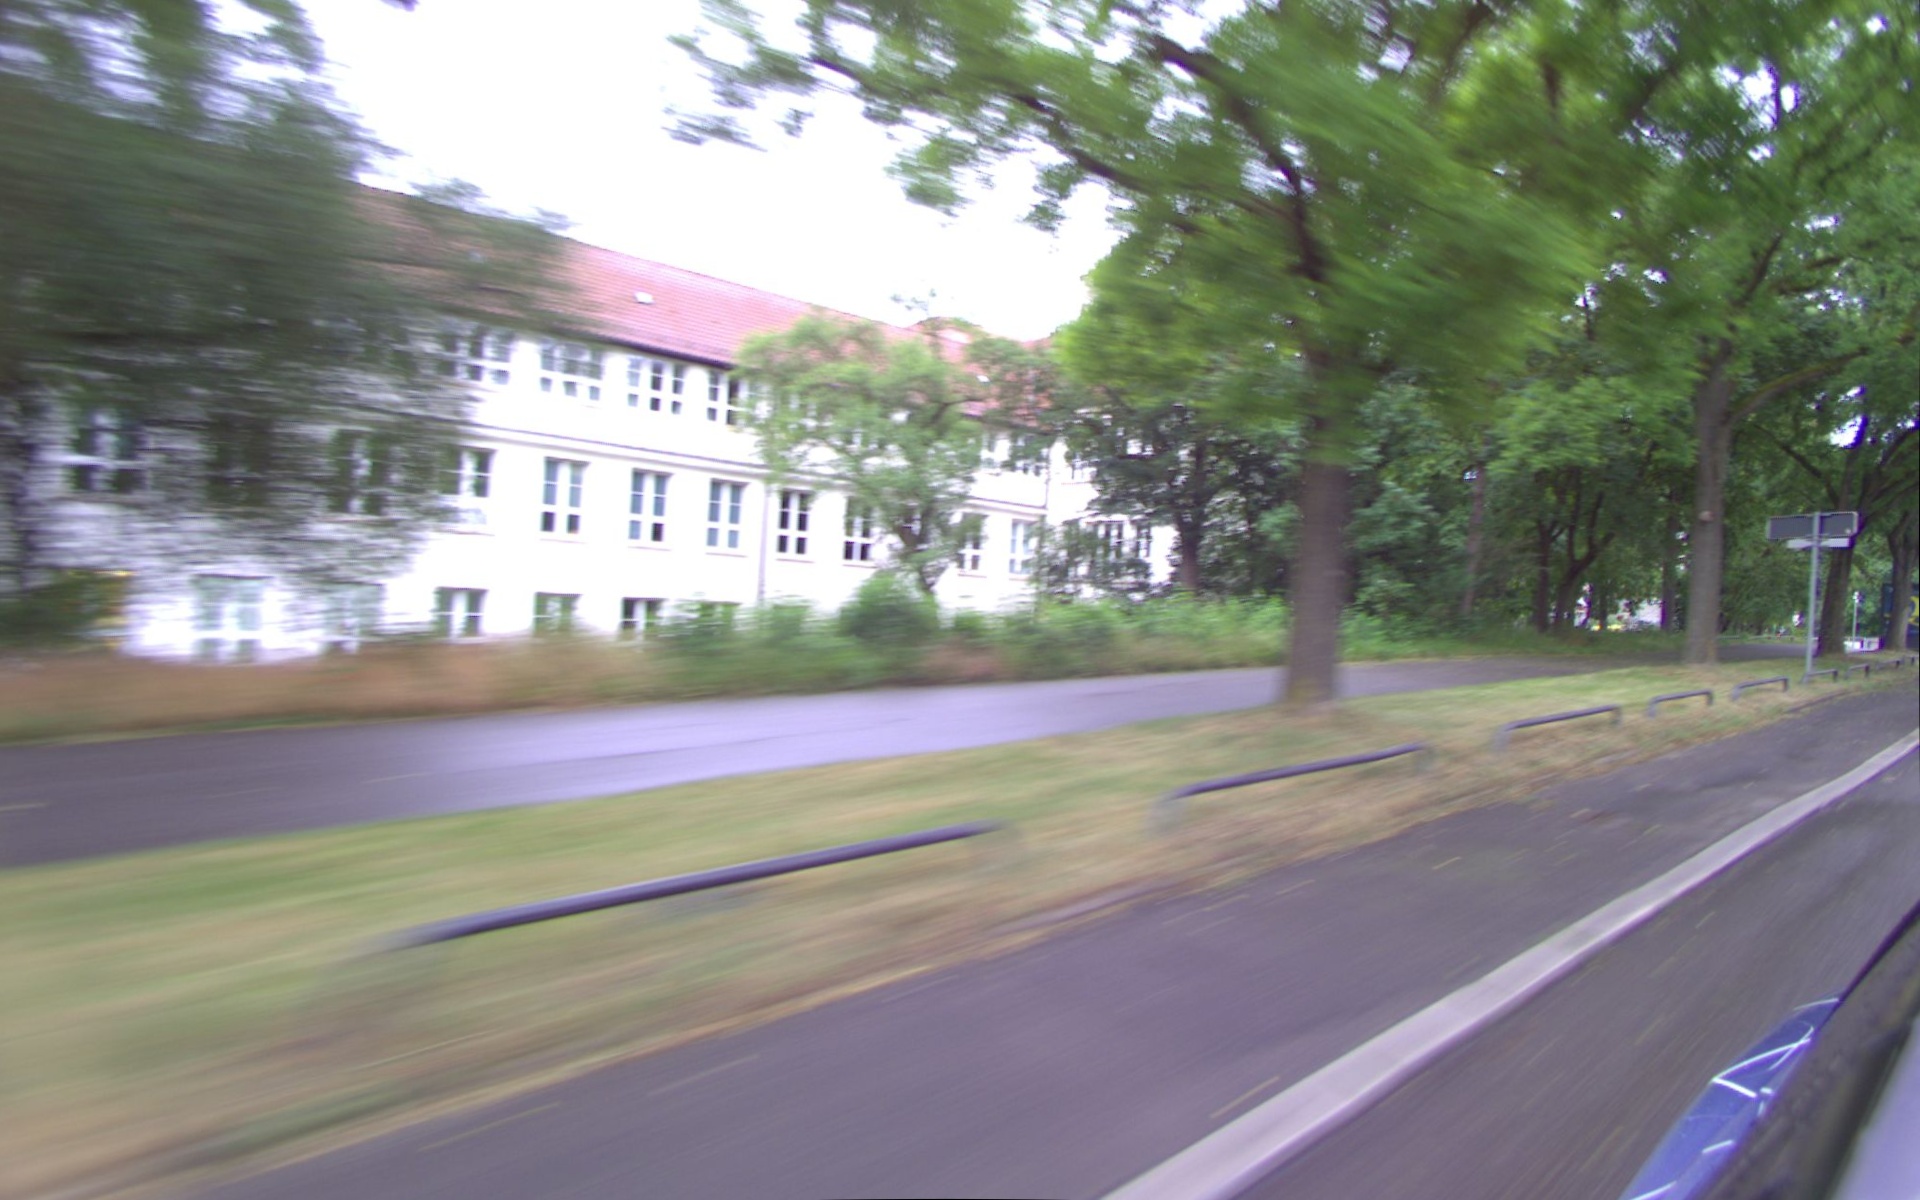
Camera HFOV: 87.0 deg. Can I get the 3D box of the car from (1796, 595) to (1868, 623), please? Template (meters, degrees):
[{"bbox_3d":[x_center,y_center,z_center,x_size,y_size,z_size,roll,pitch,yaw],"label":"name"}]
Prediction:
[{"bbox_3d":[70.651,0.722,82.068,3.928,2.039,1.998,3,-1,4],"label":"car"}]
